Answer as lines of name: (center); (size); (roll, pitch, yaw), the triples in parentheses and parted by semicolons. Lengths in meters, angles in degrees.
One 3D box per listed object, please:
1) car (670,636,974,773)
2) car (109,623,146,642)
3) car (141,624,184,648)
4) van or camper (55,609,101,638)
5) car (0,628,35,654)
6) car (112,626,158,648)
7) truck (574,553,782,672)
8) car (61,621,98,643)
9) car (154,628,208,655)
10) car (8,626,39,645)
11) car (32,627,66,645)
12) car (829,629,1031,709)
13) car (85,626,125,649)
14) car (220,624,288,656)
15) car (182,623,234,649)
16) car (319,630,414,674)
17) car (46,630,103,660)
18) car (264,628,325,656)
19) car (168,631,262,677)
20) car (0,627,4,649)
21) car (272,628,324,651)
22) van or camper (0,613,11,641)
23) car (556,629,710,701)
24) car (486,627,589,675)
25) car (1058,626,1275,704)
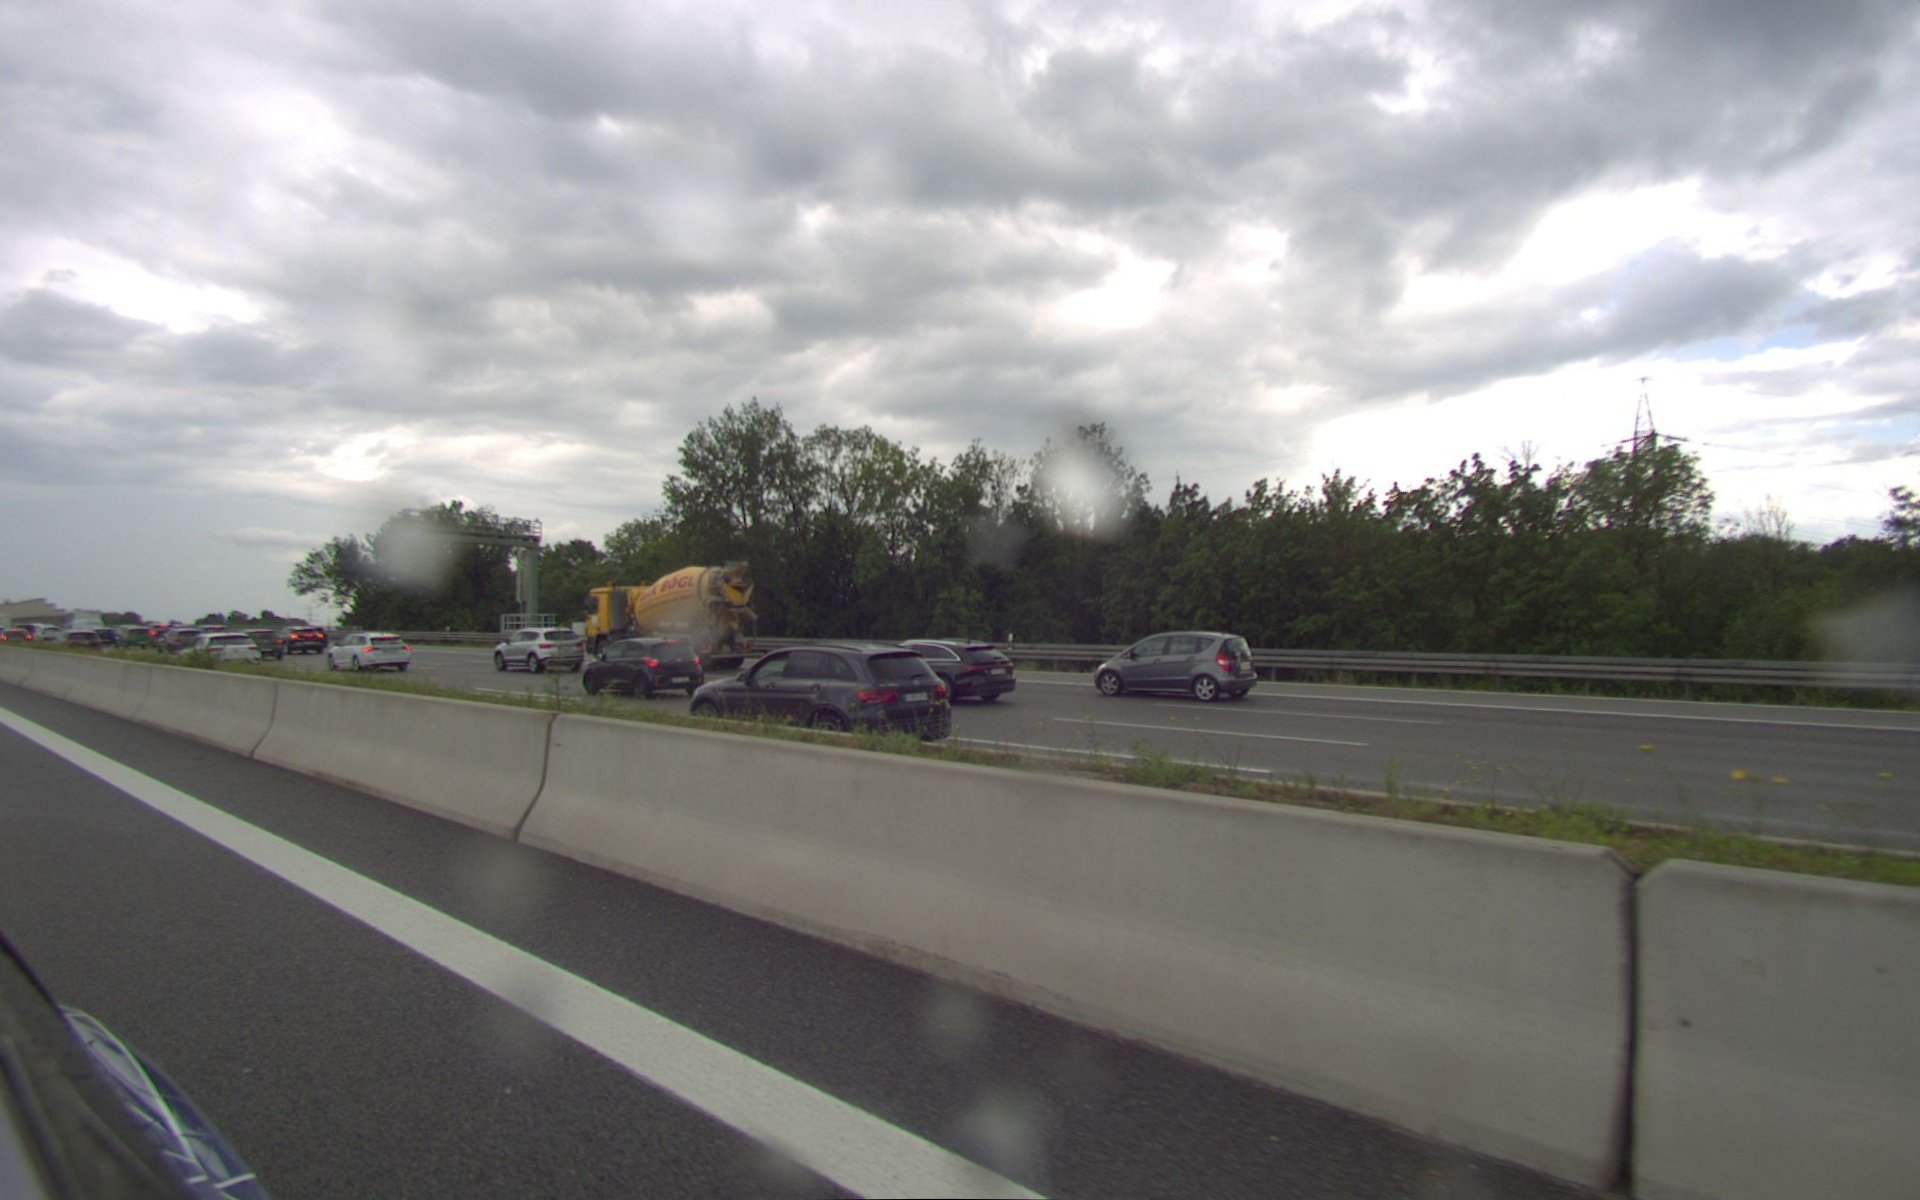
car: (-2.206, 1.405, 15.140); (4.911, 1.615, 1.705); (-1, 0, 41)
car: (-69.175, 2.668, 84.072); (3.958, 1.489, 1.705); (-1, 0, 41)
car: (-60.252, 2.686, 76.431); (4.517, 1.658, 1.705); (-1, 0, 41)
van or camper: (-99.552, 2.652, 114.172); (8.470, 3.146, 2.599); (-1, 0, 40)
car: (-66.295, 2.825, 70.893); (4.990, 1.658, 1.705); (-1, 0, 41)
car: (-56.218, 2.534, 68.942); (4.200, 1.429, 1.705); (-1, -2, 41)
truck: (-11.000, 0.515, 38.644); (9.578, 4.045, 2.885); (-1, -1, 41)
car: (-81.534, 2.956, 93.664); (5.543, 1.951, 1.671); (-1, 0, 39)
car: (-45.960, 2.418, 59.666); (4.517, 1.439, 1.705); (-1, 0, 41)
car: (-90.136, 3.384, 97.407); (4.517, 1.658, 1.705); (-1, 0, 41)
car: (-80.242, 3.145, 89.108); (4.517, 1.426, 1.705); (-1, 0, 41)
car: (-0.808, 1.537, 23.833); (4.911, 1.615, 1.705); (-1, 0, 41)
car: (-64.979, 2.831, 76.897); (4.517, 1.658, 1.705); (-1, 0, 41)
car: (-34.717, 1.916, 49.752); (4.517, 1.439, 1.705); (-1, 0, 41)
car: (-50.400, 2.377, 67.784); (5.234, 1.658, 1.705); (-1, 0, 41)
car: (-22.985, 1.967, 39.116); (4.847, 1.481, 1.705); (-1, 0, 41)
car: (-48.558, 2.435, 55.471); (5.228, 1.439, 1.705); (-1, 0, 41)
car: (-37.506, 2.324, 56.979); (4.517, 1.439, 1.705); (-1, 0, 41)
car: (-26.967, 1.908, 36.593); (4.646, 1.439, 1.705); (-1, 0, 40)
car: (-75.738, 2.938, 78.577); (4.995, 1.658, 1.705); (-1, 0, 41)
car: (-43.935, 2.599, 67.147); (4.517, 1.439, 1.705); (-1, 0, 41)
van or camper: (-105.798, 2.914, 110.229); (7.352, 2.973, 2.599); (-1, 0, 40)
car: (-8.626, 1.626, 26.488); (4.642, 1.615, 1.705); (-1, 0, 41)
car: (-15.669, 1.836, 37.408); (4.517, 1.615, 1.705); (-1, 0, 41)
car: (4.855, 1.476, 24.308); (4.911, 1.615, 1.705); (-1, 0, 41)
